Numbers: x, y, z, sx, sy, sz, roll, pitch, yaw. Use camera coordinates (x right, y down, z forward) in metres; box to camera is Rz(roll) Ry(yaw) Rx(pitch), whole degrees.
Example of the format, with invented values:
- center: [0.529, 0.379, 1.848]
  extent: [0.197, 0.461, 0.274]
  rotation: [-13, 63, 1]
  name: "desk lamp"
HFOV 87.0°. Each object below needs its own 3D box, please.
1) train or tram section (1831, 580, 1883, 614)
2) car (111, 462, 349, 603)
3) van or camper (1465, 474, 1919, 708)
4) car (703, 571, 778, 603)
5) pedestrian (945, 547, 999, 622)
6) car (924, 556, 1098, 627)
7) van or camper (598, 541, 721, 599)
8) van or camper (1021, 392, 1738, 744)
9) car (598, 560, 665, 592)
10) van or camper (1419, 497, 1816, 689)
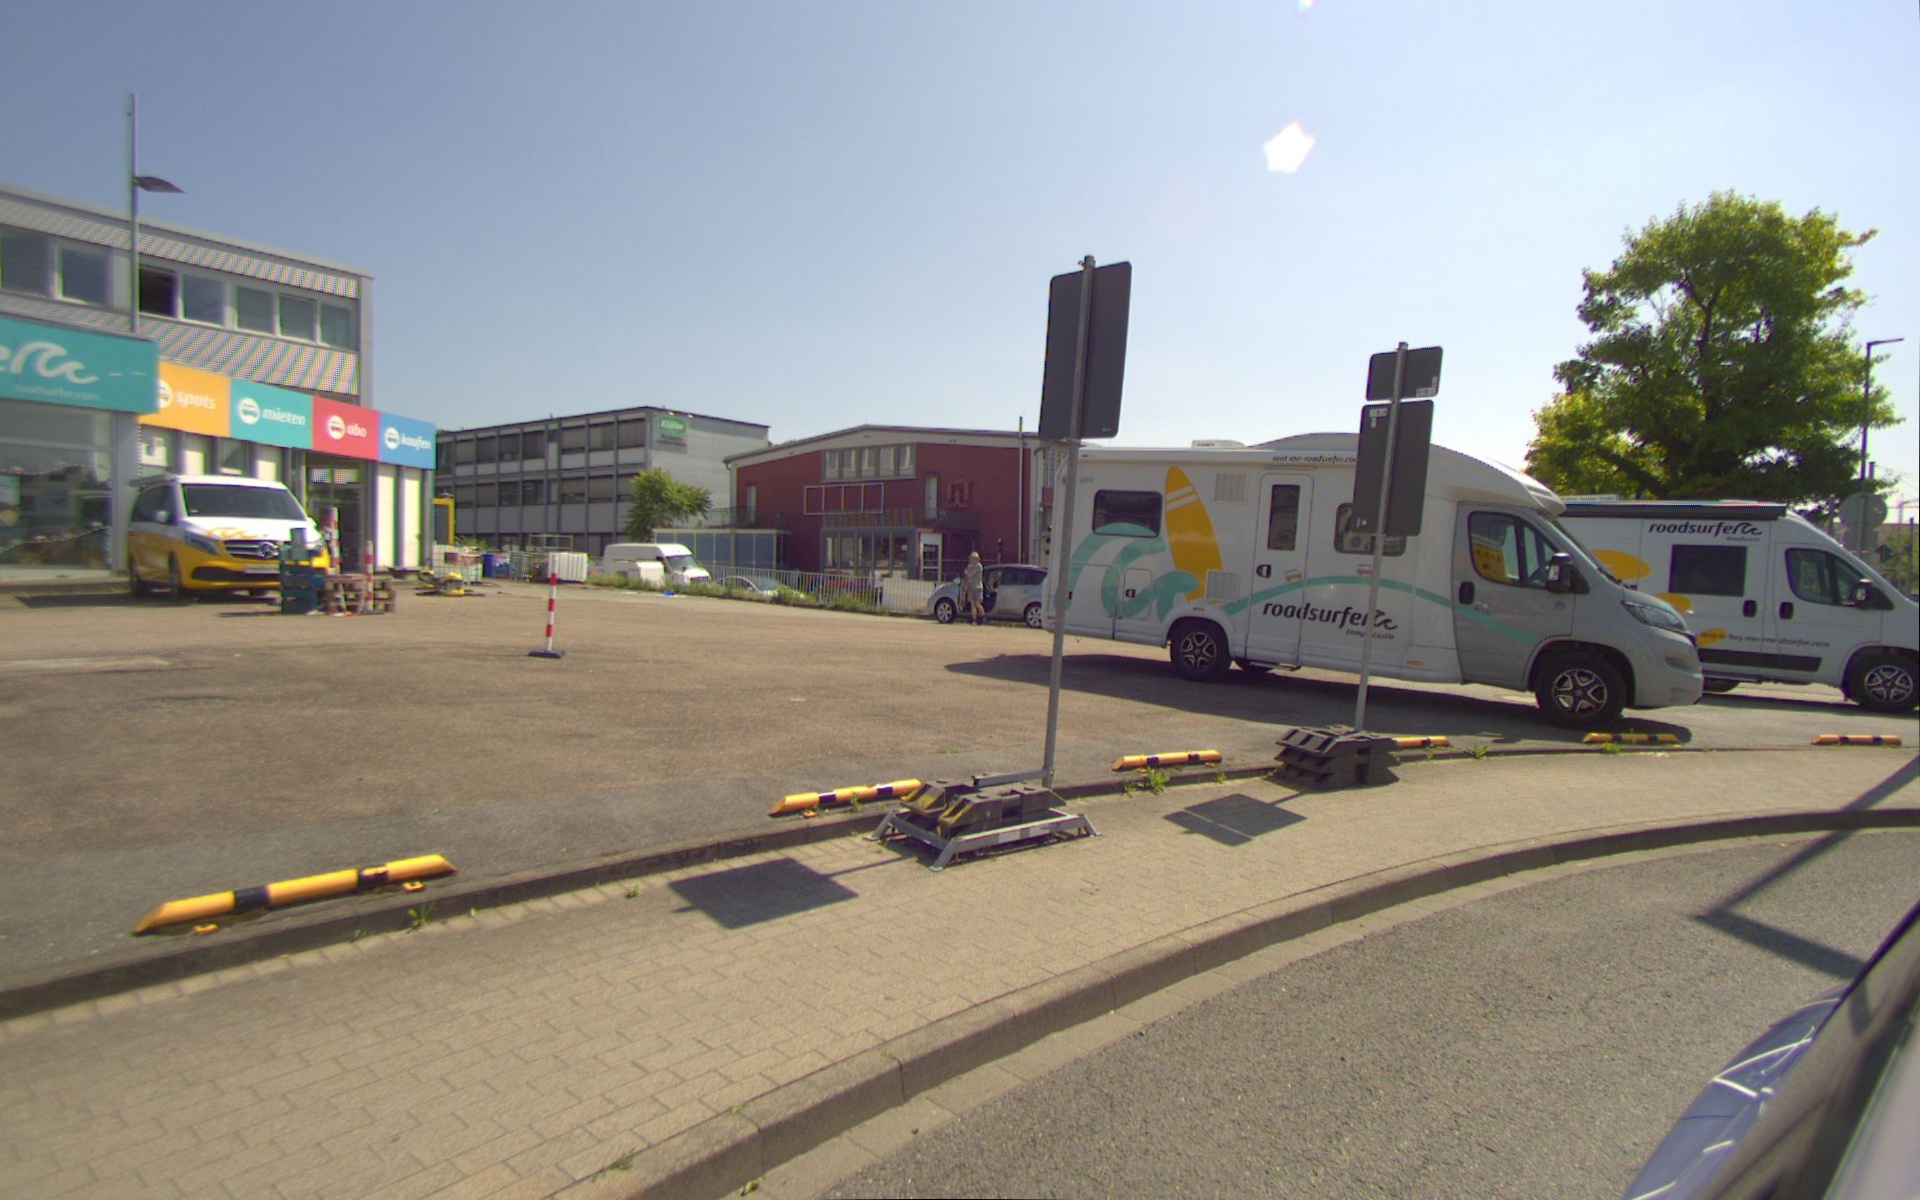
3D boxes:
- center: [99.645, -0.347, 112.584]
  extent: [2.665, 3.527, 12.174]
  rotation: [3, 2, 34]
  name: "train or tram section"
- center: [-11.781, -1.051, 16.171]
  extent: [5.083, 1.899, 2.067]
  rotation: [4, 3, 42]
  name: "car"
- center: [10.566, -0.192, 14.254]
  extent: [5.802, 2.808, 2.061]
  rotation: [3, 1, 39]
  name: "van or camper"
- center: [-8.301, -0.500, 38.196]
  extent: [2.841, 1.108, 1.164]
  rotation: [3, 2, 37]
  name: "car"
- center: [0.282, -0.353, 23.495]
  extent: [0.929, 1.692, 0.776]
  rotation: [1, 2, -43]
  name: "pedestrian"
- center: [1.225, -0.212, 24.876]
  extent: [3.868, 1.534, 1.795]
  rotation: [3, -1, 33]
  name: "car"
- center: [-14.934, -1.525, 50.105]
  extent: [6.705, 2.713, 2.315]
  rotation: [2, 1, 37]
  name: "van or camper"
- center: [4.327, -0.508, 11.602]
  extent: [7.045, 2.982, 2.305]
  rotation: [5, 3, 36]
  name: "van or camper"
- center: [-13.758, -1.016, 42.341]
  extent: [2.922, 1.265, 1.208]
  rotation: [3, 2, 37]
  name: "car"
- center: [11.179, -0.149, 17.534]
  extent: [5.500, 2.850, 2.017]
  rotation: [2, -1, 40]
  name: "van or camper"
